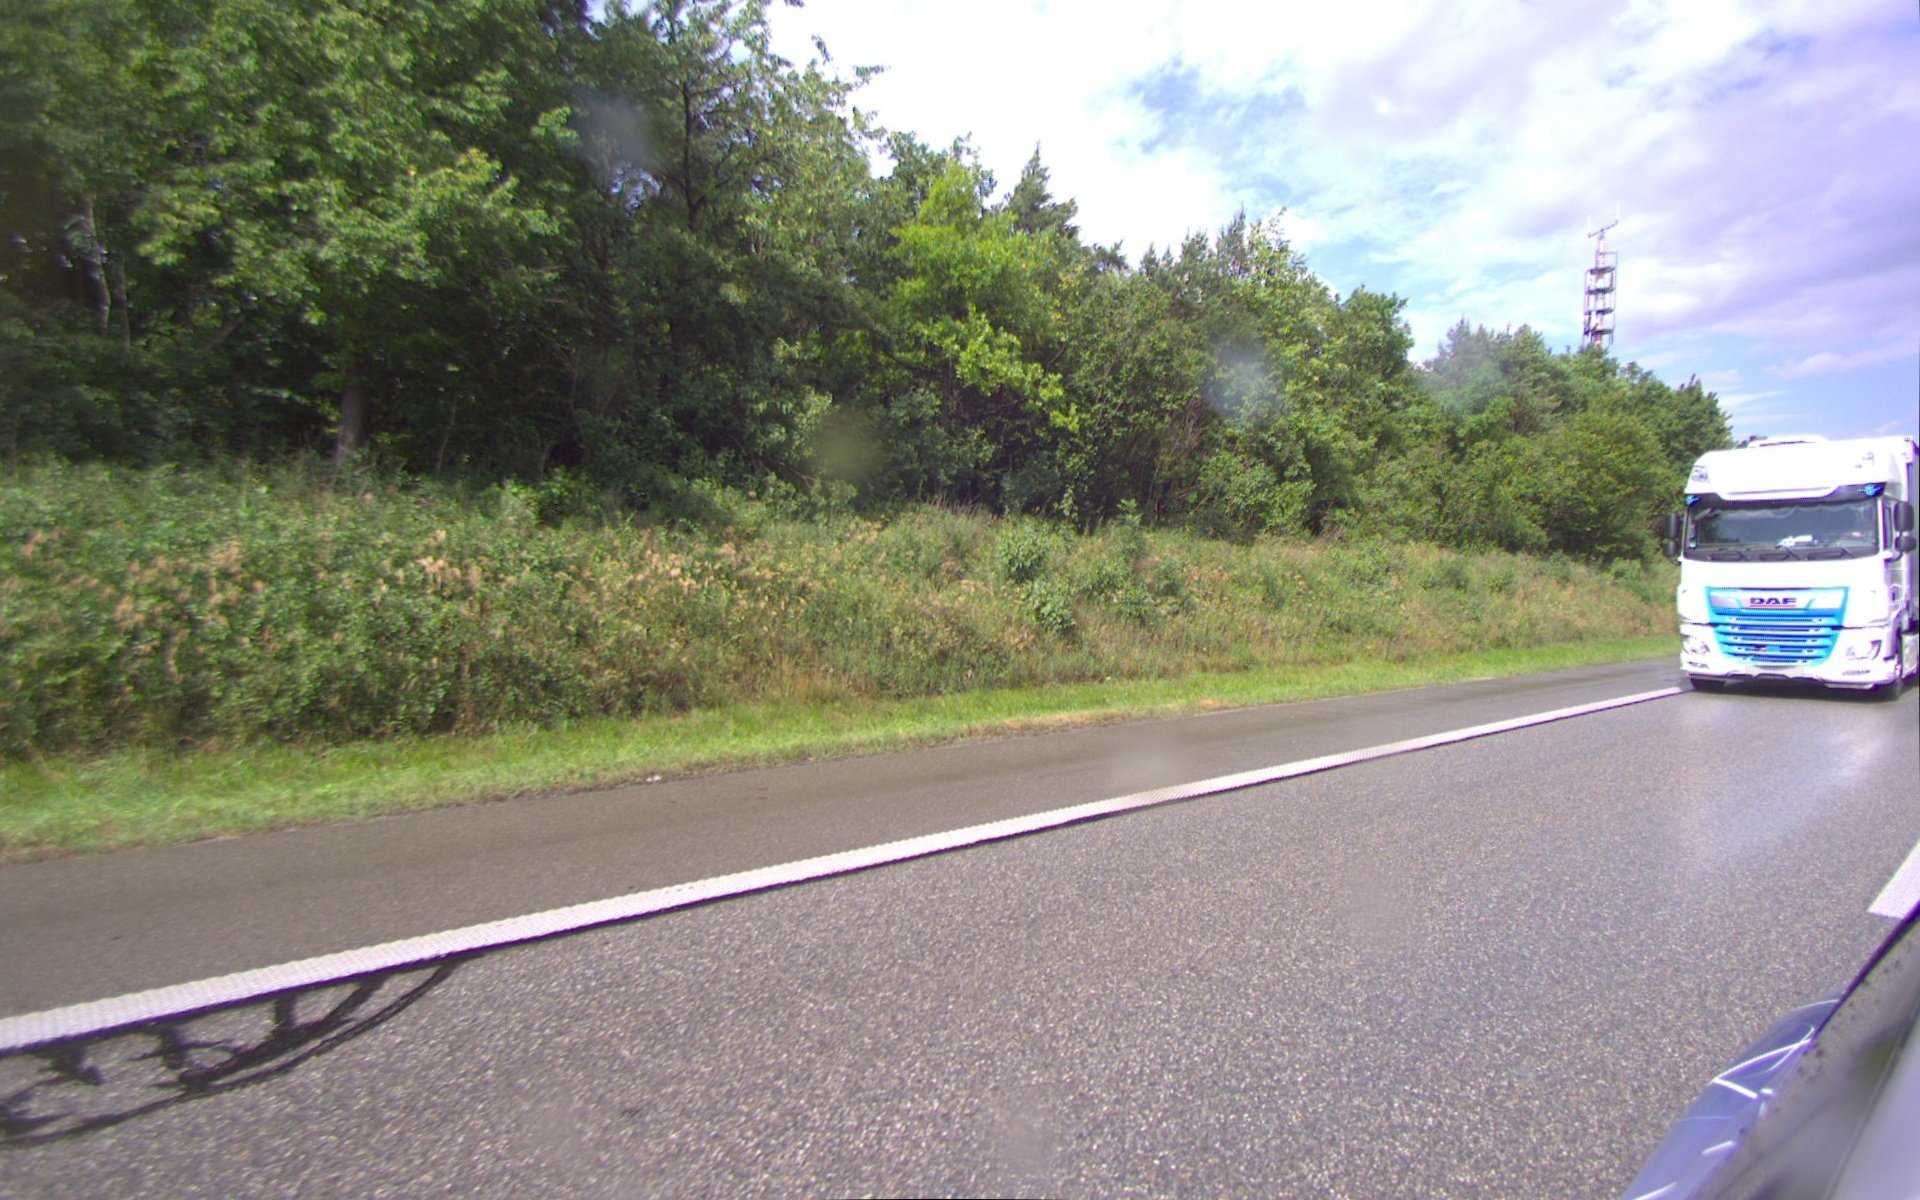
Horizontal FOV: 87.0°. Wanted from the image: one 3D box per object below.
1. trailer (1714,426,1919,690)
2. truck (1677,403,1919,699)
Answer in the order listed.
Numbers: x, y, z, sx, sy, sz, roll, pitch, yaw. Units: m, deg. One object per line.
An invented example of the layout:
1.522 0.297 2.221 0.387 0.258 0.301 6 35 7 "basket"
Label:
19.053 -0.708 21.072 13.821 4.046 2.638 -1 0 -42 "trailer"
14.743 -0.704 17.206 7.164 4.046 2.611 0 0 -42 "truck"
